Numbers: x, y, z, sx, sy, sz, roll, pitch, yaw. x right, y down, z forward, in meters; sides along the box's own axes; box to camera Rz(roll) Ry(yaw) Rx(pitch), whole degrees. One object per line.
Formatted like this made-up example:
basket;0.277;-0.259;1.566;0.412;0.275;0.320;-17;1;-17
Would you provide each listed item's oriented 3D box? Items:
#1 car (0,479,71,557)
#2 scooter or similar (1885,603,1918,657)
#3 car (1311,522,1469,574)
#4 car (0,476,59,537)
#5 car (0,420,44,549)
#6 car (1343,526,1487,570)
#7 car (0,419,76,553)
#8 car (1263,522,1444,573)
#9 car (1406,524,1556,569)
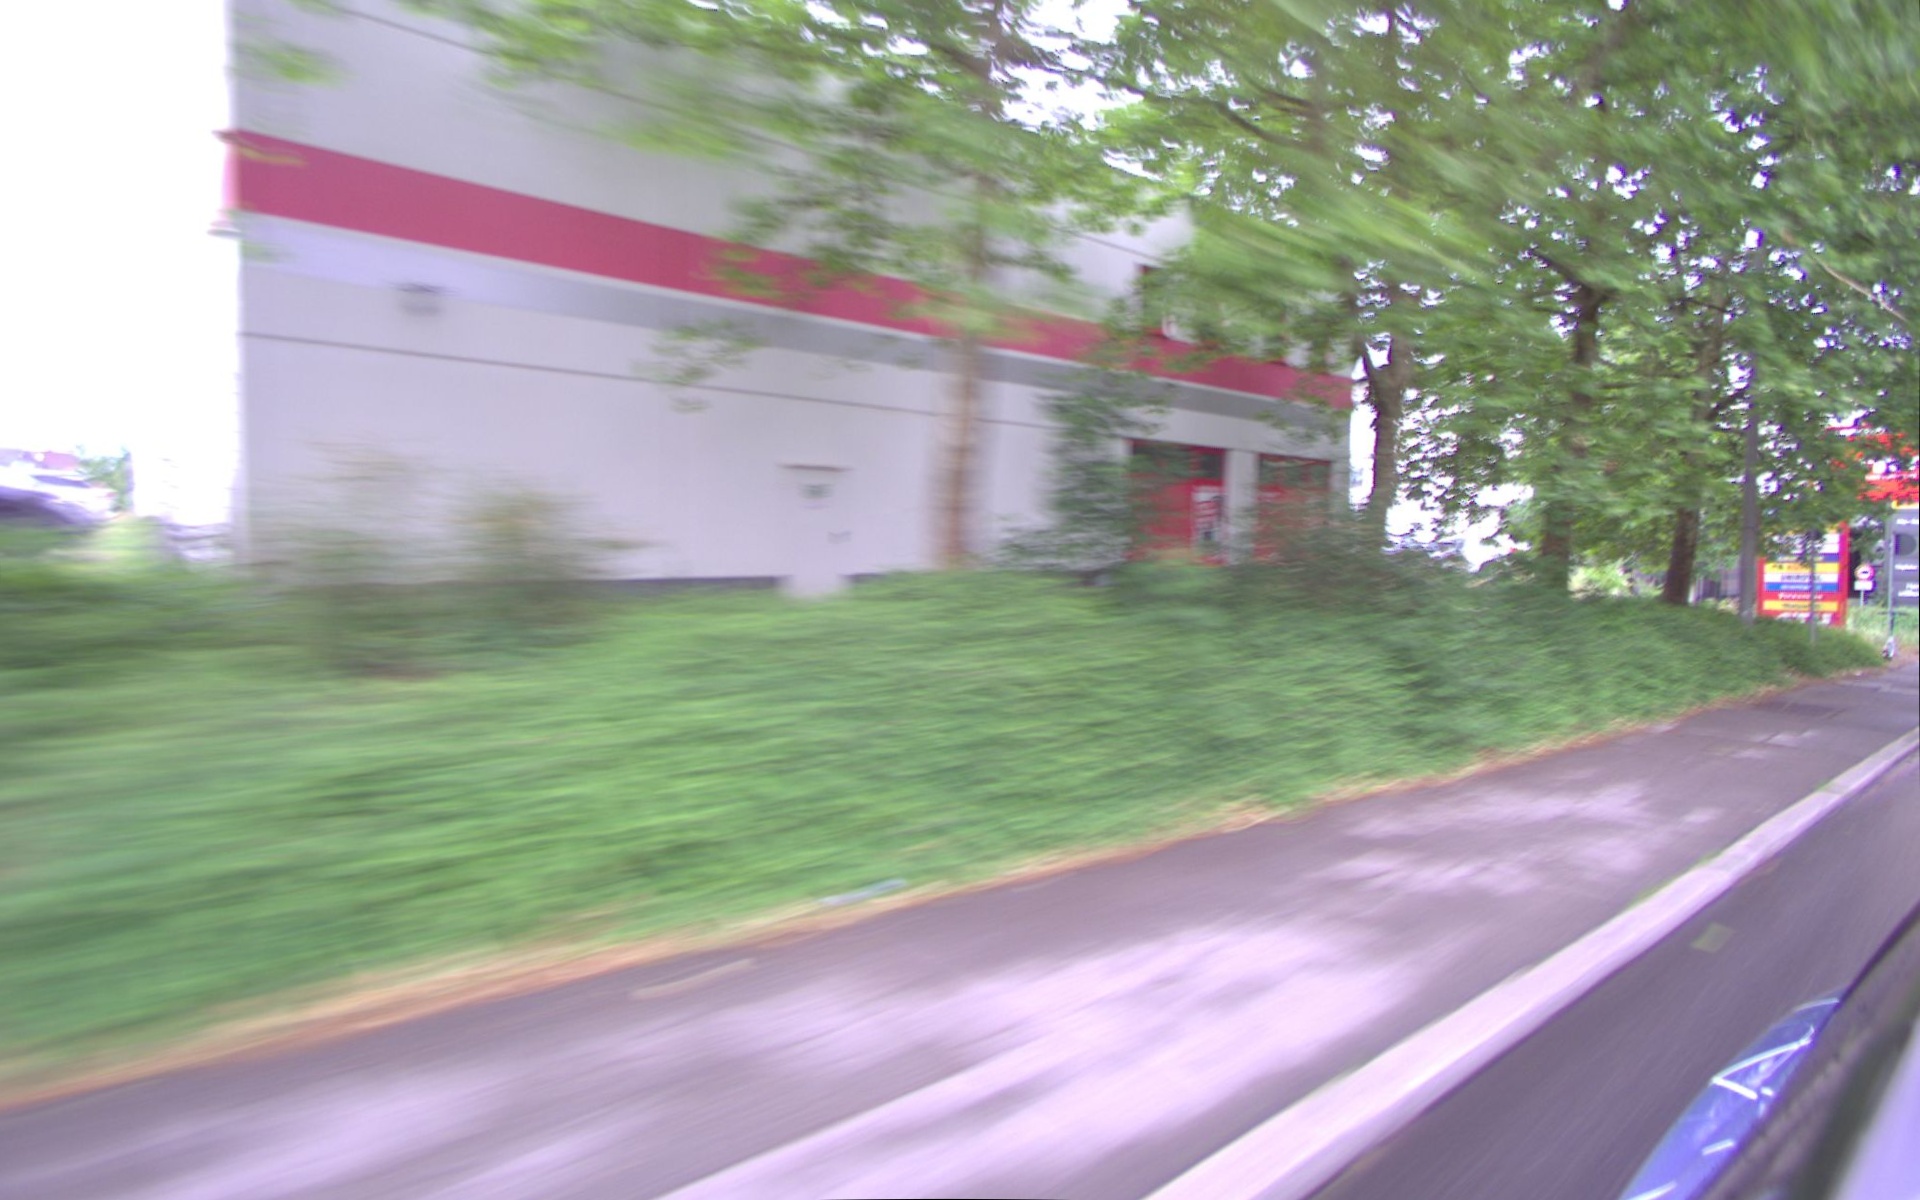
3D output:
car;-21.416;-1.773;21.452;3.818;1.615;1.798;0;2;-41
scooter or similar;21.897;0.673;23.528;1.504;1.156;0.426;-3;2;-43
car;13.229;-1.599;31.338;1.850;1.485;4.111;0;2;-38
car;-27.195;-2.601;27.651;3.818;1.615;1.798;0;2;-41
car;-15.456;-1.614;14.096;3.933;1.760;1.996;-3;2;-42
car;14.829;-1.646;33.117;1.799;1.309;3.929;-1;1;-38
car;-13.414;-1.437;12.128;4.220;1.615;1.798;0;2;-41
car;11.287;-1.477;29.301;1.769;1.350;4.619;0;2;-40
car;17.528;-1.763;34.200;1.868;1.393;4.111;-1;1;-38
